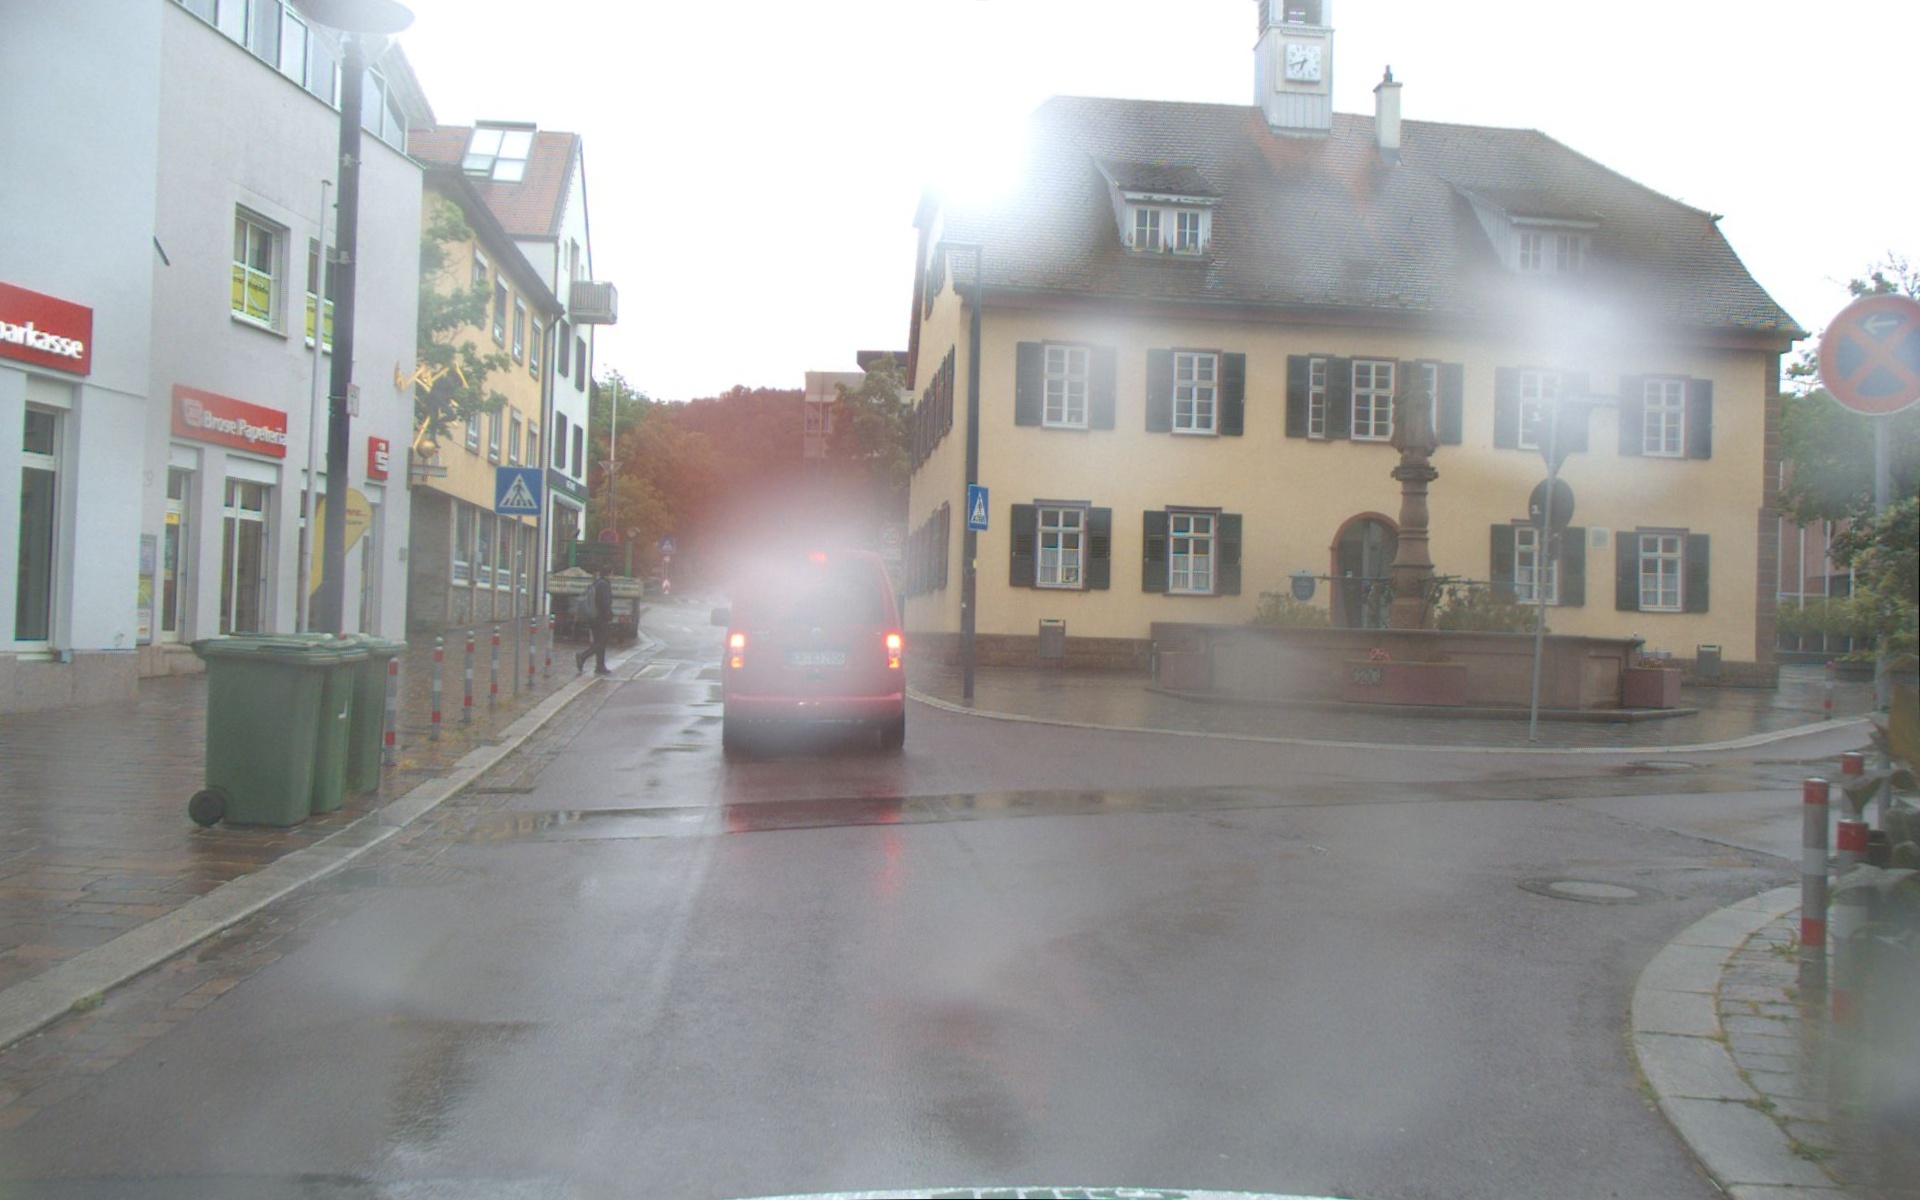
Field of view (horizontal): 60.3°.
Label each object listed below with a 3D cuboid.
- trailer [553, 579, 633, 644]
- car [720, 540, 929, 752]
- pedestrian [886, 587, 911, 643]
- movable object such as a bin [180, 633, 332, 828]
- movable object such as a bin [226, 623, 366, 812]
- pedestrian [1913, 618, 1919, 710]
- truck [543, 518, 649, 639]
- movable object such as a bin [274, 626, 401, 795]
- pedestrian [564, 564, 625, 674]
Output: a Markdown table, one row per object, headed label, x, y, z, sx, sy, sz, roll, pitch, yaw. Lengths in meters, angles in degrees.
| label | x | y | z | sx | sy | sz | roll | pitch | yaw |
| --- | --- | --- | --- | --- | --- | --- | --- | --- | --- |
| trailer | -8.375 | 0.230 | 37.922 | 1.697 | 1.370 | 3.152 | 1 | 1 | -12 |
| car | -1.477 | 0.404 | 16.713 | 1.827 | 1.862 | 4.177 | 0 | 0 | -8 |
| pedestrian | -1.834 | 0.432 | 49.132 | 0.713 | 1.645 | 0.693 | 1 | 0 | -5 |
| movable object such as a bin | -4.131 | 0.754 | 9.737 | 0.645 | 1.101 | 0.552 | 1 | 0 | -3 |
| movable object such as a bin | -4.130 | 0.719 | 10.324 | 0.645 | 1.134 | 0.552 | 1 | 0 | -3 |
| pedestrian | 19.677 | 1.289 | 33.141 | 0.678 | 1.853 | 0.783 | 1 | -1 | -34 |
| truck | -9.329 | -0.579 | 42.686 | 2.430 | 2.843 | 6.581 | 1 | 1 | -12 |
| movable object such as a bin | -4.270 | 0.746 | 11.380 | 0.645 | 1.115 | 0.612 | 1 | 0 | -5 |
| pedestrian | -5.861 | 0.295 | 26.568 | 0.848 | 1.722 | 0.715 | 1 | 0 | -7 |
